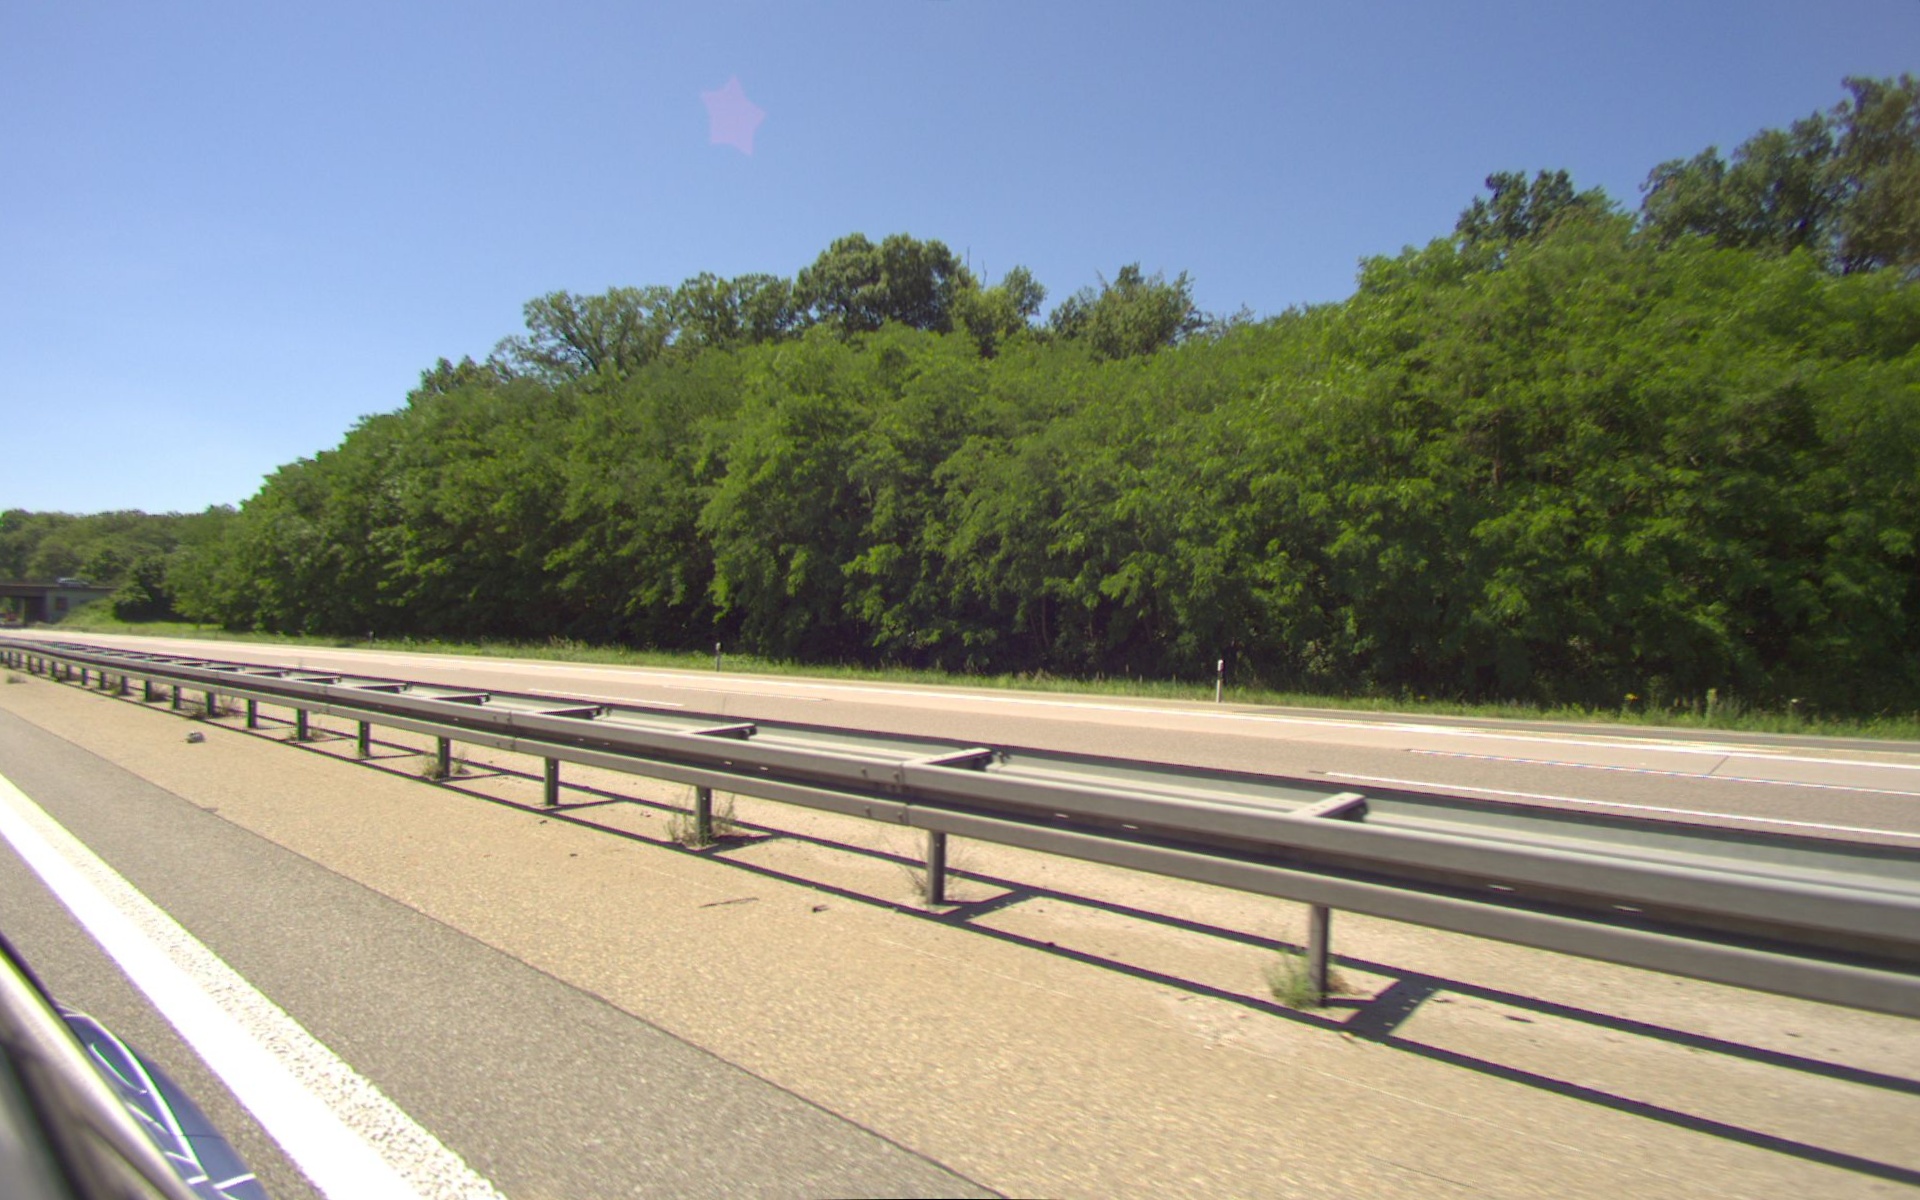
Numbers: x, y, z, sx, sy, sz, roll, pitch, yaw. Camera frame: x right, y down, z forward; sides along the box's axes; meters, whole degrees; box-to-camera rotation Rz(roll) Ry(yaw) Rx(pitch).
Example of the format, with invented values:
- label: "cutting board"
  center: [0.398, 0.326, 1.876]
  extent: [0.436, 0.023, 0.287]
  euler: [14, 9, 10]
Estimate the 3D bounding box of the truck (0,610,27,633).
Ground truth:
- label: "truck"
  center: [-127.054, 2.859, 134.785]
  extent: [12.848, 3.013, 2.724]
  euler: [-1, -2, 41]
